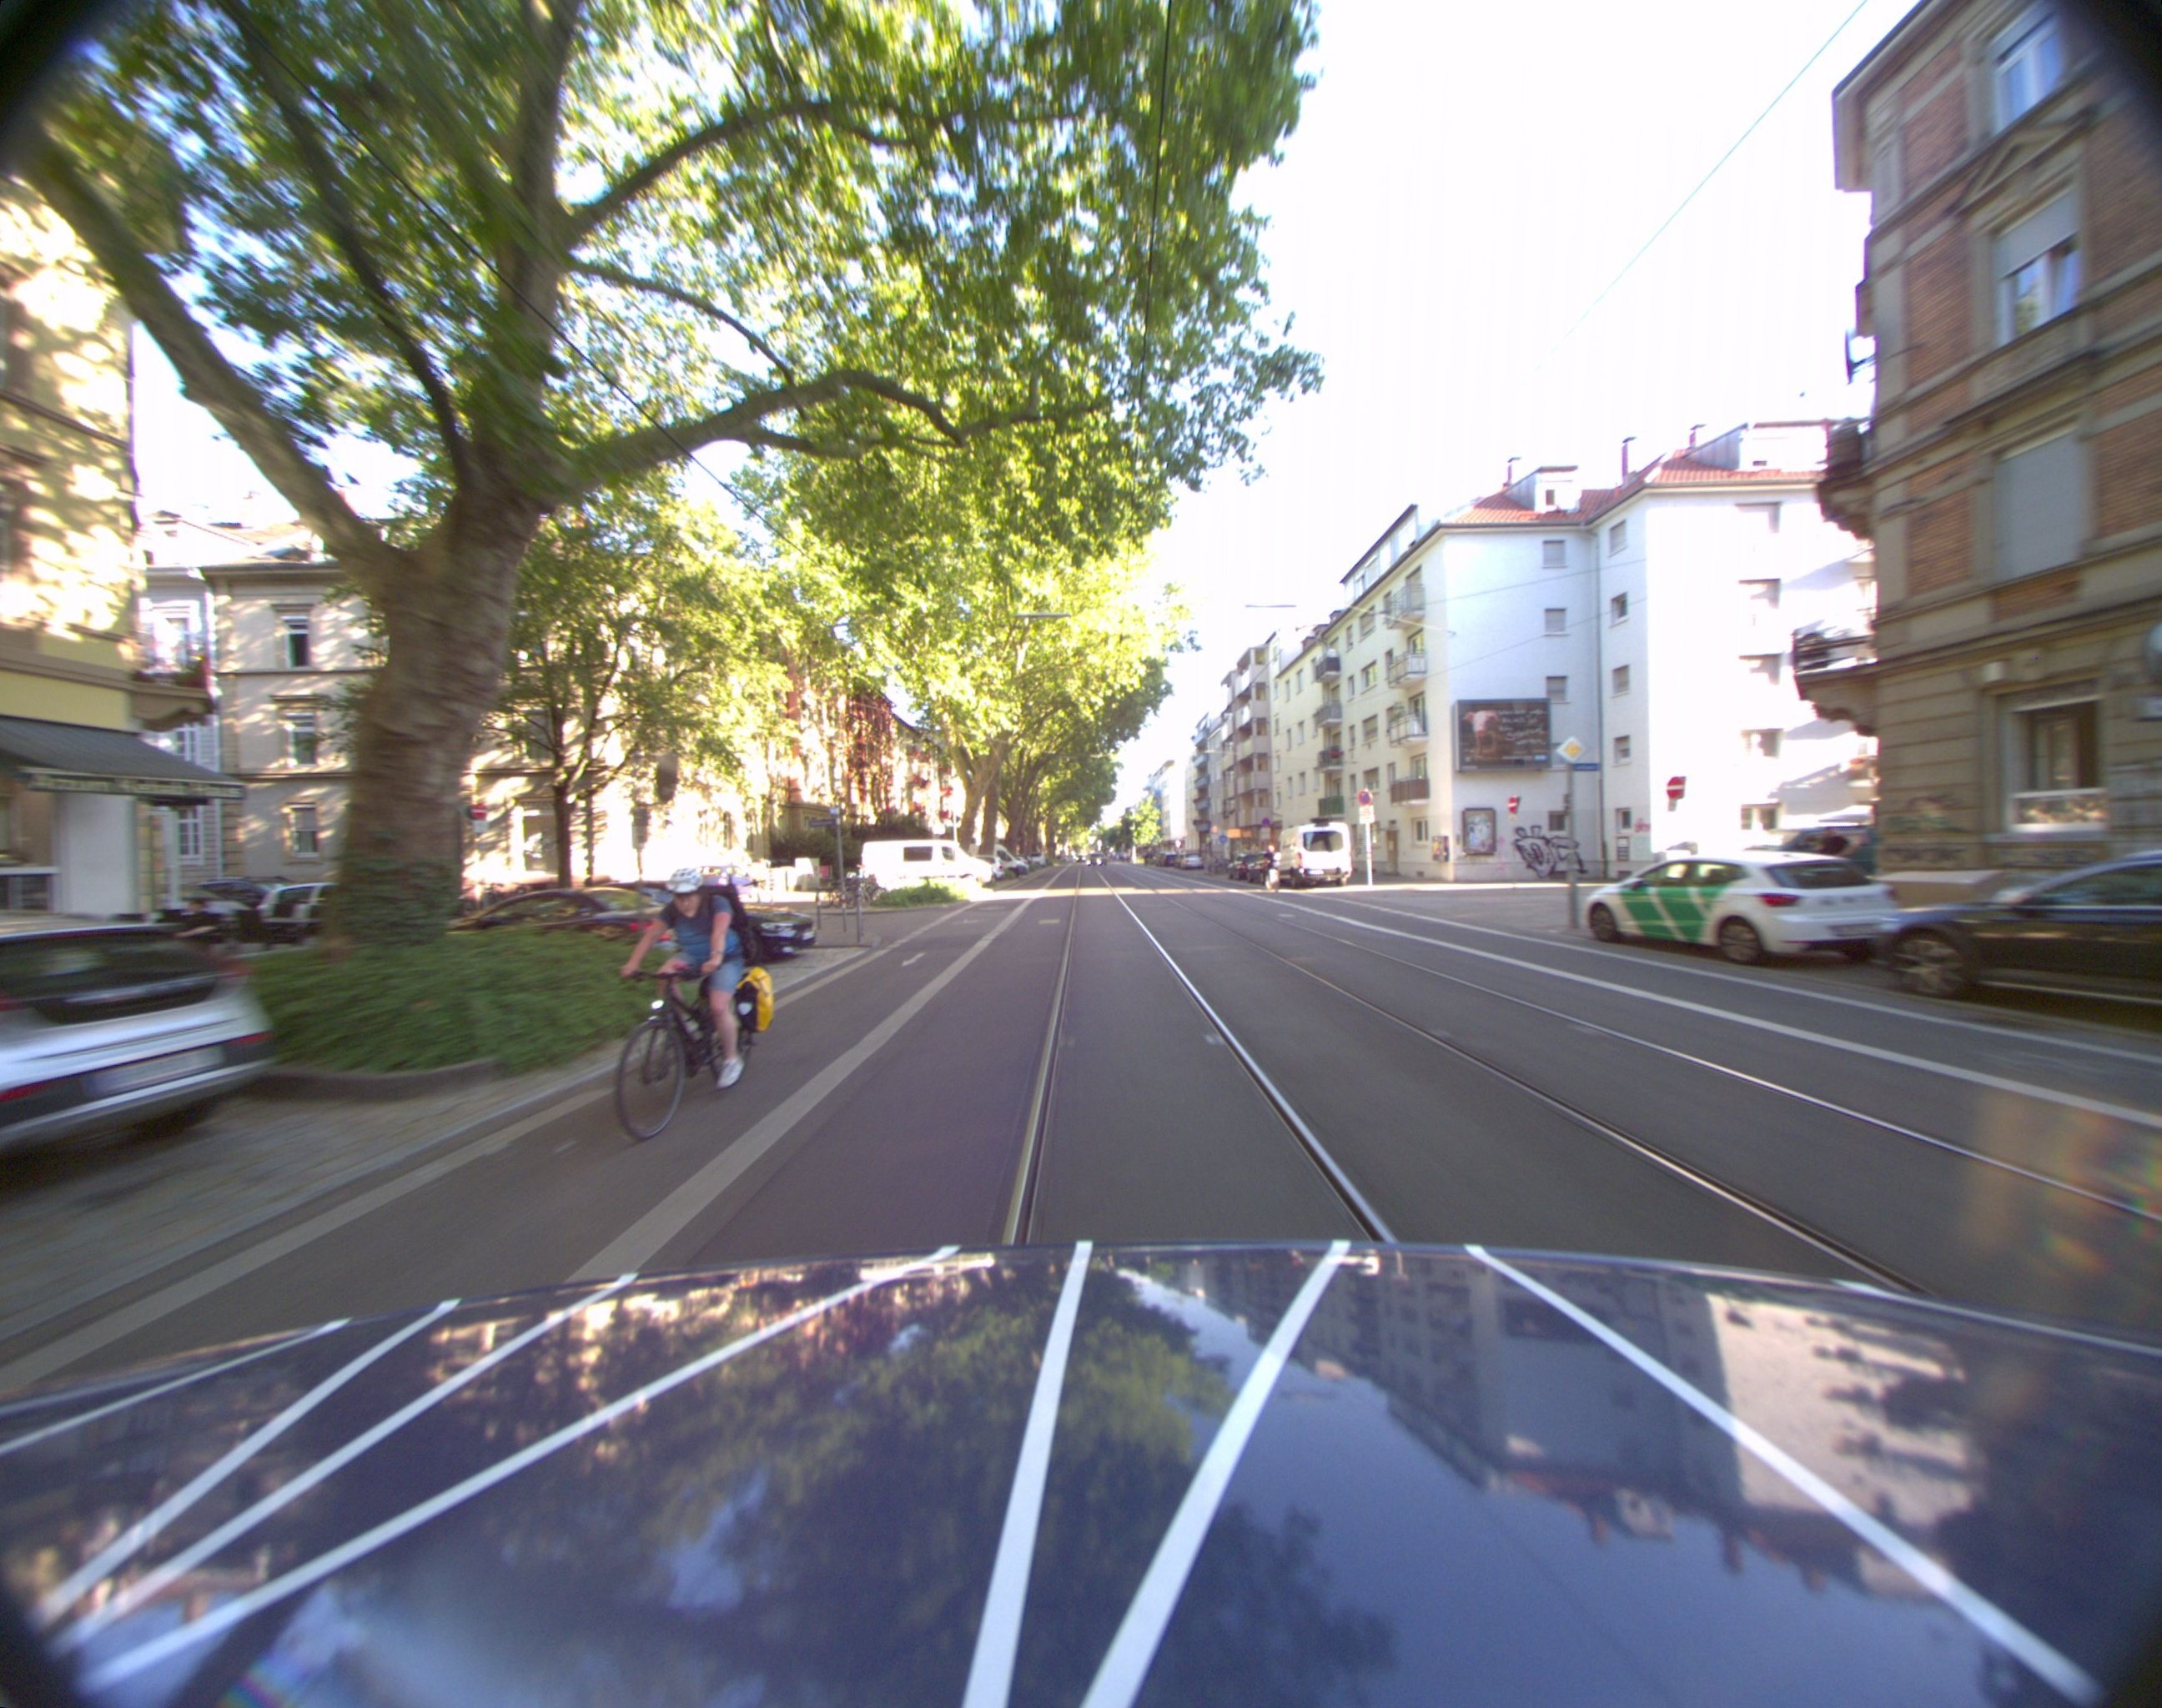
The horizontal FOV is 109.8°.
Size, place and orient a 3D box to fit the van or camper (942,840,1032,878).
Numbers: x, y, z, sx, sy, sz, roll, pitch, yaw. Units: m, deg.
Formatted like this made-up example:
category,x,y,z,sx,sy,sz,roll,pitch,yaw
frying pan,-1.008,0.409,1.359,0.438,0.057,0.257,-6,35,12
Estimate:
category,x,y,z,sx,sy,sz,roll,pitch,yaw
van or camper,-6.549,0.346,53.561,6.048,2.476,2.107,-1,1,0

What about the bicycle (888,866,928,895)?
category,x,y,z,sx,sy,sz,roll,pitch,yaw
bicycle,-7.443,1.120,32.576,2.043,1.172,0.414,-1,2,38

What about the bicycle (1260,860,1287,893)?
category,x,y,z,sx,sy,sz,roll,pitch,yaw
bicycle,7.208,0.835,28.548,0.422,1.144,2.231,-1,1,0

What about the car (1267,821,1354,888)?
category,x,y,z,sx,sy,sz,roll,pitch,yaw
car,9.461,-0.007,31.810,2.070,2.521,5.667,-2,0,2

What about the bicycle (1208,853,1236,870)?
category,x,y,z,sx,sy,sz,roll,pitch,yaw
bicycle,10.139,0.546,54.707,1.935,1.112,0.440,-3,1,7

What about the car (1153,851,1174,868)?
category,x,y,z,sx,sy,sz,roll,pitch,yaw
car,9.504,0.606,88.022,1.784,1.728,4.488,-3,0,-2

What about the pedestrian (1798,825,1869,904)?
category,x,y,z,sx,sy,sz,roll,pitch,yaw
pedestrian,17.133,0.240,17.311,0.658,1.738,0.894,-3,-1,4

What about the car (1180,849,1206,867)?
category,x,y,z,sx,sy,sz,roll,pitch,yaw
car,9.878,0.308,67.210,1.694,1.482,4.728,-1,0,1

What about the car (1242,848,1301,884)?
category,x,y,z,sx,sy,sz,roll,pitch,yaw
car,9.250,0.540,37.298,1.723,1.622,4.346,-2,0,-1

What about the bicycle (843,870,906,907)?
category,x,y,z,sx,sy,sz,roll,pitch,yaw
bicycle,-7.083,1.183,26.078,2.046,1.172,0.413,-2,2,9

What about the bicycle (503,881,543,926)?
category,x,y,z,sx,sy,sz,roll,pitch,yaw
bicycle,-18.089,1.570,24.667,0.508,1.249,1.903,-3,3,-21

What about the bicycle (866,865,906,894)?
category,x,y,z,sx,sy,sz,roll,pitch,yaw
bicycle,-8.230,1.070,31.955,2.043,1.172,0.414,-1,2,38

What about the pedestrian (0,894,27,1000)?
category,x,y,z,sx,sy,sz,roll,pitch,yaw
pedestrian,-13.912,1.189,9.571,0.485,1.320,0.688,-1,1,37

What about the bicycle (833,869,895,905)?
category,x,y,z,sx,sy,sz,roll,pitch,yaw
bicycle,-7.605,1.160,26.643,2.046,1.172,0.413,-2,2,9

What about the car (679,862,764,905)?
category,x,y,z,sx,sy,sz,roll,pitch,yaw
car,-14.174,1.116,30.198,1.737,1.447,3.569,-3,1,-3

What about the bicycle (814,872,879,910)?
category,x,y,z,sx,sy,sz,roll,pitch,yaw
bicycle,-7.701,1.218,24.964,2.046,1.172,0.413,-2,2,9

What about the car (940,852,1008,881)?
category,x,y,z,sx,sy,sz,roll,pitch,yaw
car,-6.555,0.784,47.036,3.965,1.646,1.795,-1,1,-2

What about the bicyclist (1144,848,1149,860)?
category,x,y,z,sx,sy,sz,roll,pitch,yaw
bicyclist,7.620,0.022,88.297,0.510,1.386,0.709,0,1,0

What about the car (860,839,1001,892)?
category,x,y,z,sx,sy,sz,roll,pitch,yaw
car,-6.865,0.523,35.050,6.005,2.269,2.006,-1,0,2

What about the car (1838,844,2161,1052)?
category,x,y,z,sx,sy,sz,roll,pitch,yaw
car,9.339,0.735,6.074,1.745,1.553,4.785,-3,1,-1

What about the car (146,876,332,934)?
category,x,y,z,sx,sy,sz,roll,pitch,yaw
car,-26.962,1.605,24.414,3.995,1.590,1.853,-1,3,5

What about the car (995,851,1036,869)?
category,x,y,z,sx,sy,sz,roll,pitch,yaw
car,-6.695,0.622,78.154,4.004,1.734,1.805,-2,0,0

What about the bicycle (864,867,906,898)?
category,x,y,z,sx,sy,sz,roll,pitch,yaw
bicycle,-7.789,1.107,30.120,2.043,1.172,0.414,-1,2,38

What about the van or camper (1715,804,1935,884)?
category,x,y,z,sx,sy,sz,roll,pitch,yaw
van or camper,23.993,-0.320,24.662,5.115,2.373,2.021,-1,1,1

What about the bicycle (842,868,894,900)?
category,x,y,z,sx,sy,sz,roll,pitch,yaw
bicycle,-8.131,1.138,28.994,2.044,1.172,0.414,-2,2,21

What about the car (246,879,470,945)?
category,x,y,z,sx,sy,sz,roll,pitch,yaw
car,-17.367,1.351,18.394,3.687,1.403,1.692,-2,-1,-3

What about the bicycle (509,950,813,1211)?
category,x,y,z,sx,sy,sz,roll,pitch,yaw
bicycle,-2.635,1.344,5.224,0.596,0.998,2.511,-4,0,1

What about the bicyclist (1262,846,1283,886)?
category,x,y,z,sx,sy,sz,roll,pitch,yaw
bicyclist,7.154,0.439,28.446,0.584,1.473,0.807,-1,1,0

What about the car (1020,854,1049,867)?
category,x,y,z,sx,sy,sz,roll,pitch,yaw
car,-5.947,0.819,97.796,3.572,1.522,1.677,-2,1,-2

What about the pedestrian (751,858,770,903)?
category,x,y,z,sx,sy,sz,roll,pitch,yaw
pedestrian,-12.048,0.977,28.551,0.594,1.642,0.707,-2,2,-25

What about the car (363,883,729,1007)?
category,x,y,z,sx,sy,sz,roll,pitch,yaw
car,-7.430,1.240,10.775,4.104,1.483,1.682,-2,1,6

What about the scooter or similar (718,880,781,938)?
category,x,y,z,sx,sy,sz,roll,pitch,yaw
scooter or similar,-7.382,1.226,16.937,1.309,1.248,0.341,-1,1,14

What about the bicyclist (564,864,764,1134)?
category,x,y,z,sx,sy,sz,roll,pitch,yaw
bicyclist,-2.678,0.872,4.991,0.615,1.543,0.935,-6,1,1

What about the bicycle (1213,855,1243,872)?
category,x,y,z,sx,sy,sz,roll,pitch,yaw
bicycle,9.870,0.655,51.144,1.897,1.032,0.402,-3,1,7

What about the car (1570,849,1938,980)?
category,x,y,z,sx,sy,sz,roll,pitch,yaw
car,9.389,0.714,11.139,1.745,1.483,4.044,-3,1,-1

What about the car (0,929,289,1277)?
category,x,y,z,sx,sy,sz,roll,pitch,yaw
car,-7.057,1.243,3.877,4.039,1.471,1.680,-1,0,-5

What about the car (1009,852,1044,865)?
category,x,y,z,sx,sy,sz,roll,pitch,yaw
car,-6.204,0.505,86.357,3.838,1.435,1.699,0,-1,-7

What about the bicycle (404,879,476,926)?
category,x,y,z,sx,sy,sz,roll,pitch,yaw
bicycle,-20.903,1.562,24.831,0.523,1.310,2.007,-3,3,0

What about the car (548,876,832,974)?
category,x,y,z,sx,sy,sz,roll,pitch,yaw
car,-6.780,1.213,13.385,4.103,1.483,1.832,-1,1,9

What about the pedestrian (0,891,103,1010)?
category,x,y,z,sx,sy,sz,roll,pitch,yaw
pedestrian,-12.947,1.168,9.328,0.485,1.367,1.058,-1,1,31

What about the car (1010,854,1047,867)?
category,x,y,z,sx,sy,sz,roll,pitch,yaw
car,-6.157,0.747,89.232,4.206,1.473,1.911,-1,1,1

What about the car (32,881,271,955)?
category,x,y,z,sx,sy,sz,roll,pitch,yaw
car,-22.370,1.507,18.396,3.686,1.606,1.692,-2,-1,0

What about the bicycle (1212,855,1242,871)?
category,x,y,z,sx,sy,sz,roll,pitch,yaw
bicycle,9.927,0.621,51.710,1.897,1.032,0.402,-3,1,7

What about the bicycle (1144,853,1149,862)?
category,x,y,z,sx,sy,sz,roll,pitch,yaw
bicycle,7.612,0.423,88.199,0.418,1.012,1.946,0,1,1

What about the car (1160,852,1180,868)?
category,x,y,z,sx,sy,sz,roll,pitch,yaw
car,9.697,0.604,82.995,1.660,1.591,4.201,-3,0,-1

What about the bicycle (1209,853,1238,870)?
category,x,y,z,sx,sy,sz,roll,pitch,yaw
bicycle,10.076,0.557,53.682,1.972,1.112,0.425,-3,1,7

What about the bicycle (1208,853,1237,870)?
category,x,y,z,sx,sy,sz,roll,pitch,yaw
bicycle,10.112,0.552,54.168,1.965,1.112,0.440,-3,1,7

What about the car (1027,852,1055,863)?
category,x,y,z,sx,sy,sz,roll,pitch,yaw
car,-5.510,0.514,104.177,3.570,1.431,1.726,-2,1,4

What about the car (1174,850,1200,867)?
category,x,y,z,sx,sy,sz,roll,pitch,yaw
car,10.007,0.408,72.097,1.798,1.482,4.240,-1,0,-1

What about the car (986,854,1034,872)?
category,x,y,z,sx,sy,sz,roll,pitch,yaw
car,-6.087,0.775,65.477,3.964,1.471,1.688,-1,1,0

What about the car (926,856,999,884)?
category,x,y,z,sx,sy,sz,roll,pitch,yaw
car,-6.889,0.921,44.411,3.965,1.470,1.796,-1,1,0

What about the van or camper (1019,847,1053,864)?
category,x,y,z,sx,sy,sz,roll,pitch,yaw
van or camper,-5.932,0.155,100.475,4.388,2.097,1.838,-1,1,-3

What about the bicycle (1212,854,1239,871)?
category,x,y,z,sx,sy,sz,roll,pitch,yaw
bicycle,9.986,0.571,52.536,1.792,1.112,0.425,-3,1,7

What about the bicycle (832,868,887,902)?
category,x,y,z,sx,sy,sz,roll,pitch,yaw
bicycle,-8.060,1.133,27.621,2.044,1.172,0.414,-2,2,21

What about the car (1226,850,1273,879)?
category,x,y,z,sx,sy,sz,roll,pitch,yaw
car,9.400,0.558,42.667,1.722,1.448,4.572,-2,0,2

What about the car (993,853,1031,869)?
category,x,y,z,sx,sy,sz,roll,pitch,yaw
car,-6.891,0.701,75.717,3.618,1.486,1.660,-2,1,-1
